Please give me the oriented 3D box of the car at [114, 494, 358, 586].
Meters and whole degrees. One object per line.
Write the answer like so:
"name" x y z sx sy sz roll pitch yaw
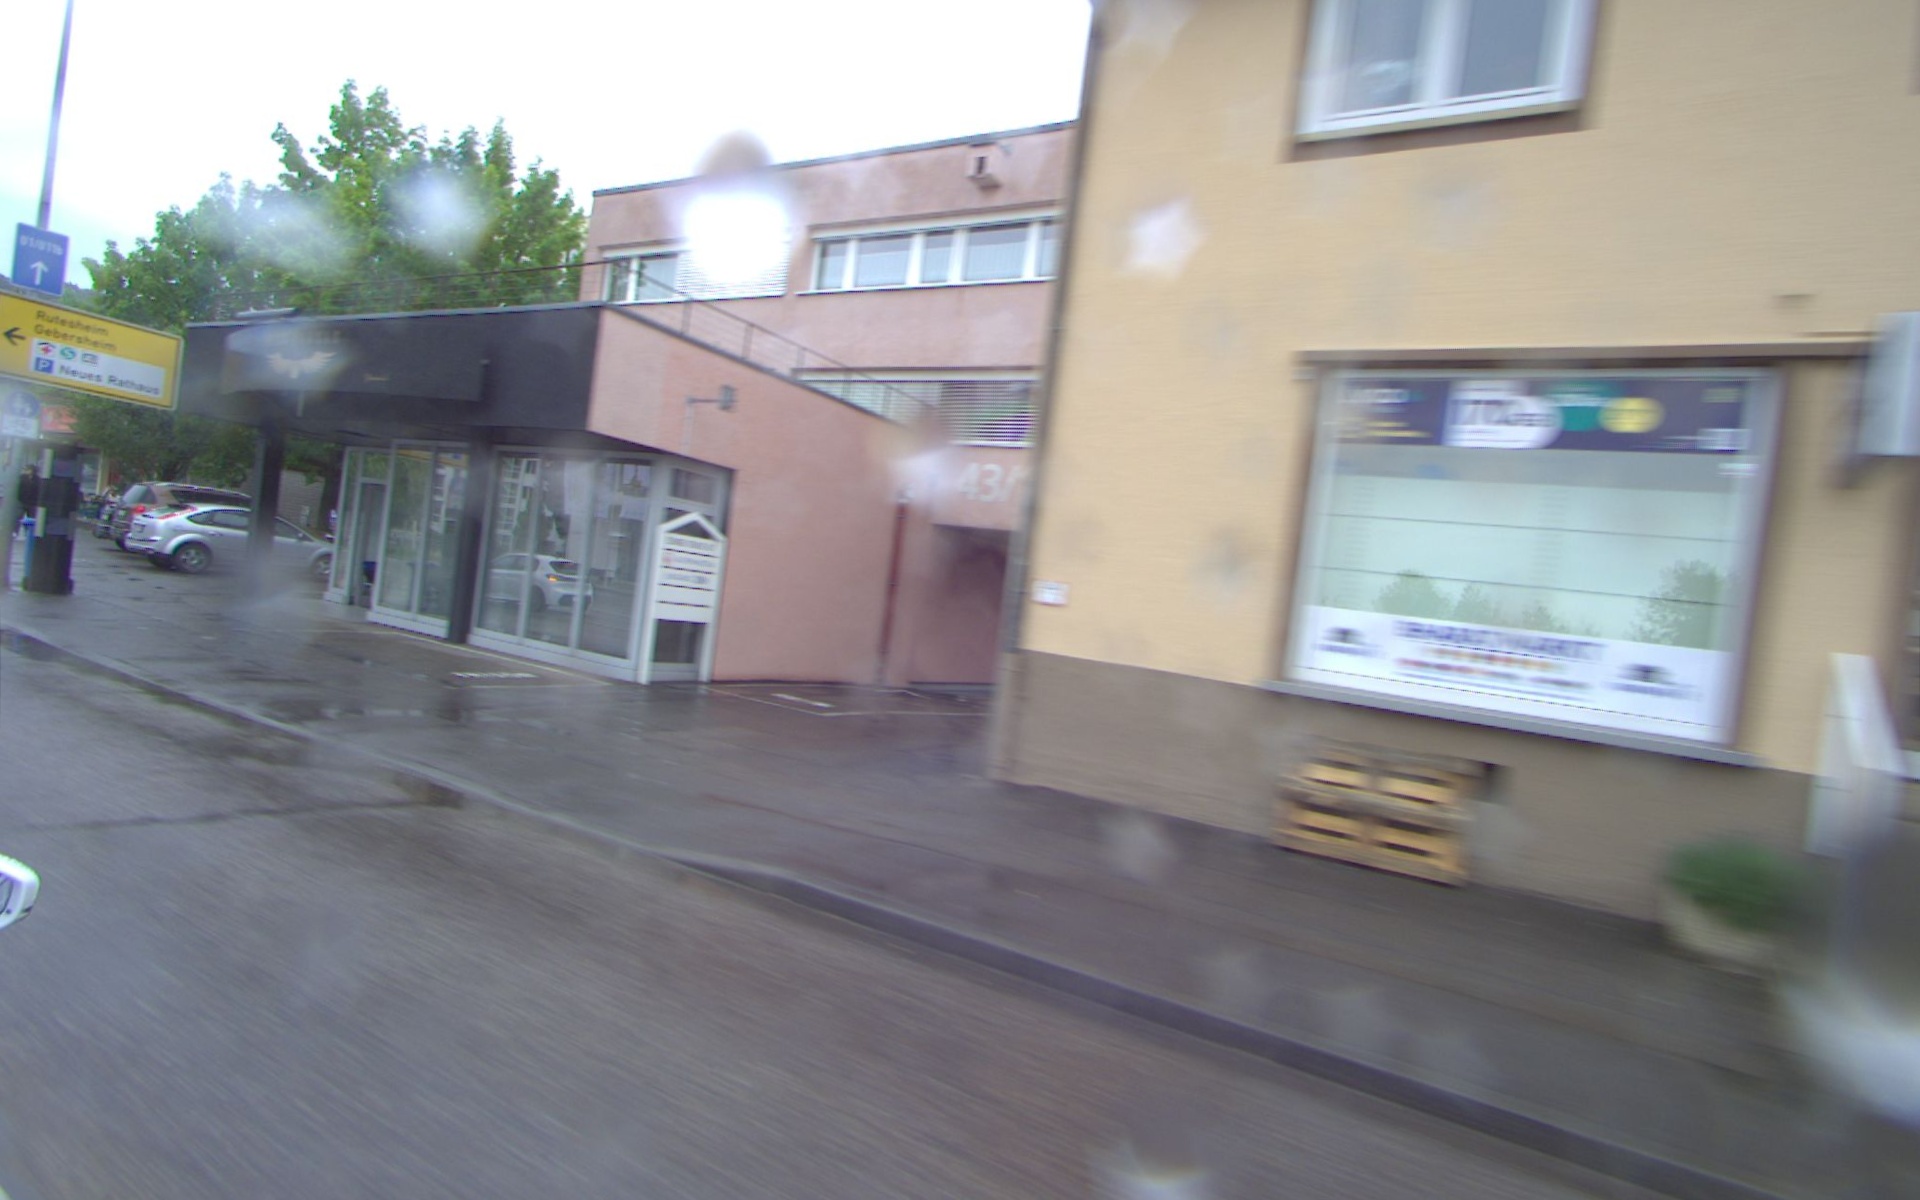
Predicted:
"car" -15.950 -1.277 22.336 1.719 1.465 3.987 8 1 36

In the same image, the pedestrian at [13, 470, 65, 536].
"pedestrian" -26.963 -2.832 29.458 0.747 1.759 0.875 9 3 33

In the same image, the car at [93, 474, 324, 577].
"car" -18.388 -1.773 24.790 1.847 1.894 4.094 8 1 36

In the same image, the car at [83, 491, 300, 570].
"car" -20.235 -1.803 26.656 1.773 1.472 4.150 7 0 33

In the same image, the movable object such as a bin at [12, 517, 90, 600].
"movable object such as a bin" -13.311 -0.602 14.738 0.687 1.088 0.636 10 2 34

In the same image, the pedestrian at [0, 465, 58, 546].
"pedestrian" -23.000 -2.316 24.775 0.781 1.844 0.710 5 0 5

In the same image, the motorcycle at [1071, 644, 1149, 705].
"motorcycle" 3.428 1.703 23.043 1.611 1.116 0.681 9 1 8
